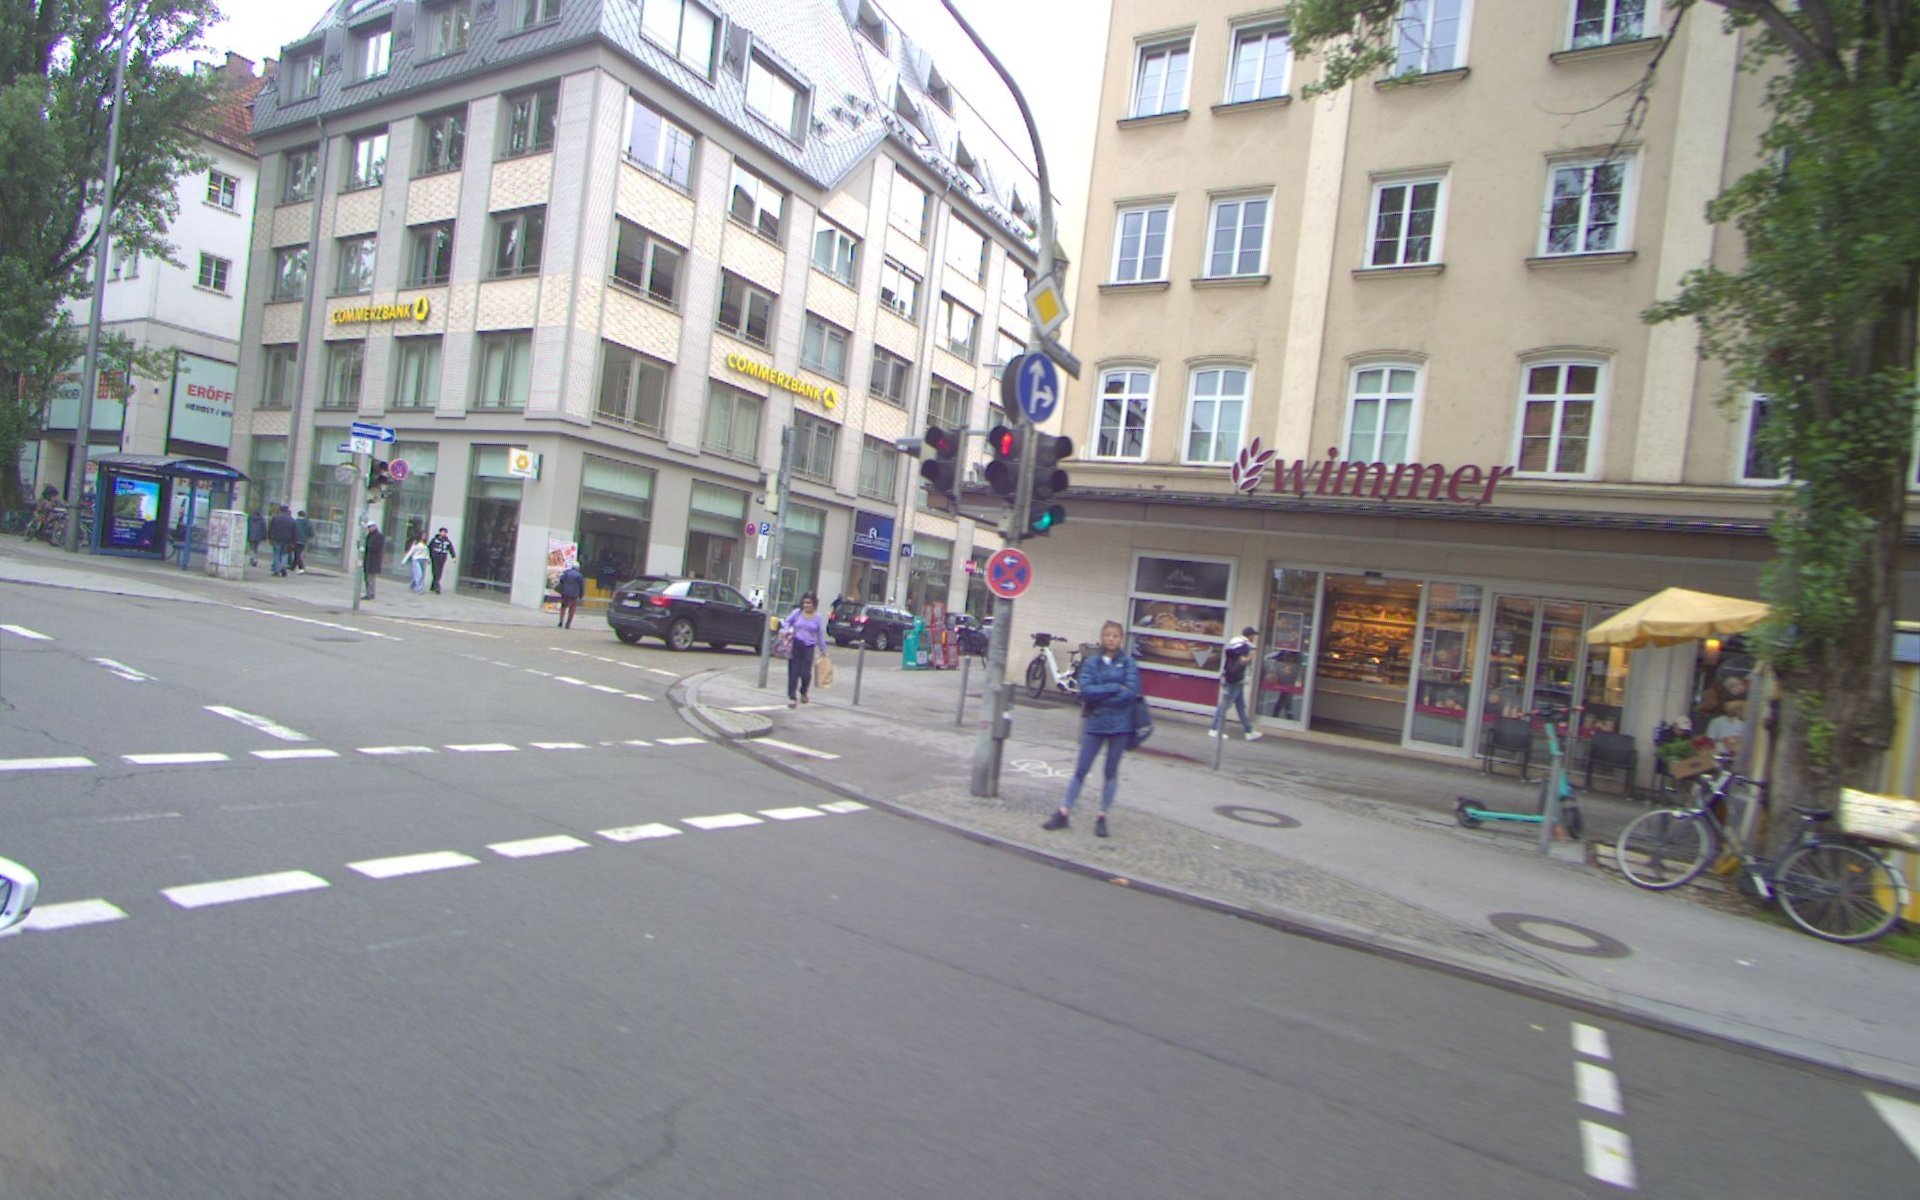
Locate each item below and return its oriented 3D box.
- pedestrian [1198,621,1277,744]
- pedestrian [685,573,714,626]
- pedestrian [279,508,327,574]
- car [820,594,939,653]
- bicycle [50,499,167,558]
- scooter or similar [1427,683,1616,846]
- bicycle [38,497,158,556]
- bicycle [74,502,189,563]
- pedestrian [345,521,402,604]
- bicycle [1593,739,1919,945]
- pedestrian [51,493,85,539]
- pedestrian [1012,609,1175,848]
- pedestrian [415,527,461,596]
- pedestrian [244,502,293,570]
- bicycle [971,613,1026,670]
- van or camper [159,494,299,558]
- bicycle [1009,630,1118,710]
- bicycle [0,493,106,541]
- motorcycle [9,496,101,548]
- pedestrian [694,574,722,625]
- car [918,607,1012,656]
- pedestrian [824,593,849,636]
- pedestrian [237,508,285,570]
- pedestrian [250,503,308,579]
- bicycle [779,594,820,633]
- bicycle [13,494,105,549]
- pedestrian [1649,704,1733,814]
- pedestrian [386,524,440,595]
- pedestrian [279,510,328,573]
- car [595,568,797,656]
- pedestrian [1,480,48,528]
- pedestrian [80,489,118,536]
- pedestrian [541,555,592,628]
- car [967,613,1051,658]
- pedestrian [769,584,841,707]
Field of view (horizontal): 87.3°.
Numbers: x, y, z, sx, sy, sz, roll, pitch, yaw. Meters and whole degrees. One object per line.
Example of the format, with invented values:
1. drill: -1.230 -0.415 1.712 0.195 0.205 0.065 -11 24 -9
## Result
1. pedestrian: 4.180 1.231 15.151 0.847 1.723 0.665 5 0 32
2. pedestrian: -8.028 -0.012 31.010 0.574 1.550 0.444 7 1 28
3. pedestrian: -18.763 -1.692 28.752 0.845 1.780 0.750 5 0 33
4. car: -2.597 0.813 33.341 1.730 1.568 3.991 8 0 32
5. bicycle: -23.014 -1.902 27.252 0.469 1.268 2.318 8 0 31
6. scooter or similar: 5.217 1.513 9.416 1.345 1.259 0.408 7 1 15
7. bicycle: -23.525 -1.994 27.521 0.622 1.268 2.346 8 0 31
8. bicycle: -21.912 -1.770 26.656 2.226 1.268 0.472 7 1 -35
9. pedestrian: -13.542 -0.863 23.233 0.740 1.780 0.709 7 1 33
10. bicycle: 5.913 1.755 7.569 0.404 1.081 1.789 13 -5 -42
11. pedestrian: -35.233 -3.305 39.721 0.947 1.683 0.652 7 1 32
12. pedestrian: 1.038 0.950 7.746 0.849 1.630 0.767 8 1 27
13. pedestrian: -14.617 -1.075 28.170 0.699 1.780 0.750 7 1 32
14. pedestrian: -19.388 -1.792 28.210 0.845 1.780 0.750 5 0 33
15. bicycle: 1.048 1.135 26.845 0.473 1.403 1.829 8 0 32
16. van or camper: -29.716 -2.967 40.999 1.868 1.888 4.108 7 -2 35
17. bicycle: 1.839 1.247 17.991 1.781 1.184 0.435 7 0 30
18. bicycle: -25.943 -2.346 28.712 0.860 1.029 2.151 7 0 31
19. motorcycle: -24.788 -2.121 27.587 0.501 1.154 1.726 8 1 32
20. pedestrian: -8.042 -0.020 32.086 0.574 1.550 0.444 7 1 28
21. car: 0.246 1.217 38.046 1.730 1.479 3.691 8 0 32
22. pedestrian: -4.346 0.502 35.325 0.574 1.423 0.444 7 1 28
23. pedestrian: -20.769 -1.811 29.885 0.947 1.698 0.750 8 2 33
24. pedestrian: -17.843 -1.532 26.369 0.875 1.840 0.819 7 1 30
25. bicycle: -5.504 0.475 34.634 0.440 1.227 1.743 7 0 21
26. bicycle: -24.391 -2.110 27.252 0.442 1.255 1.726 8 1 32
27. pedestrian: 9.511 2.046 13.121 0.688 1.216 0.868 7 5 32
28. pedestrian: -14.825 -1.097 27.270 1.000 1.780 0.750 8 2 33
29. pedestrian: -19.720 -1.745 30.212 0.947 1.739 0.750 7 1 33
30. car: -5.560 0.311 21.664 1.730 1.479 3.991 8 0 32
31. pedestrian: -36.427 -3.736 39.185 0.812 1.695 0.985 7 1 -10
32. pedestrian: -34.306 -3.487 40.075 0.947 1.739 0.751 7 1 32
33. pedestrian: -9.326 -0.200 23.861 0.722 1.657 0.750 5 1 34
34. car: 2.067 1.490 41.391 1.730 1.479 3.691 8 0 32
35. pedestrian: -2.059 0.600 13.346 0.757 1.536 0.617 5 0 -15
